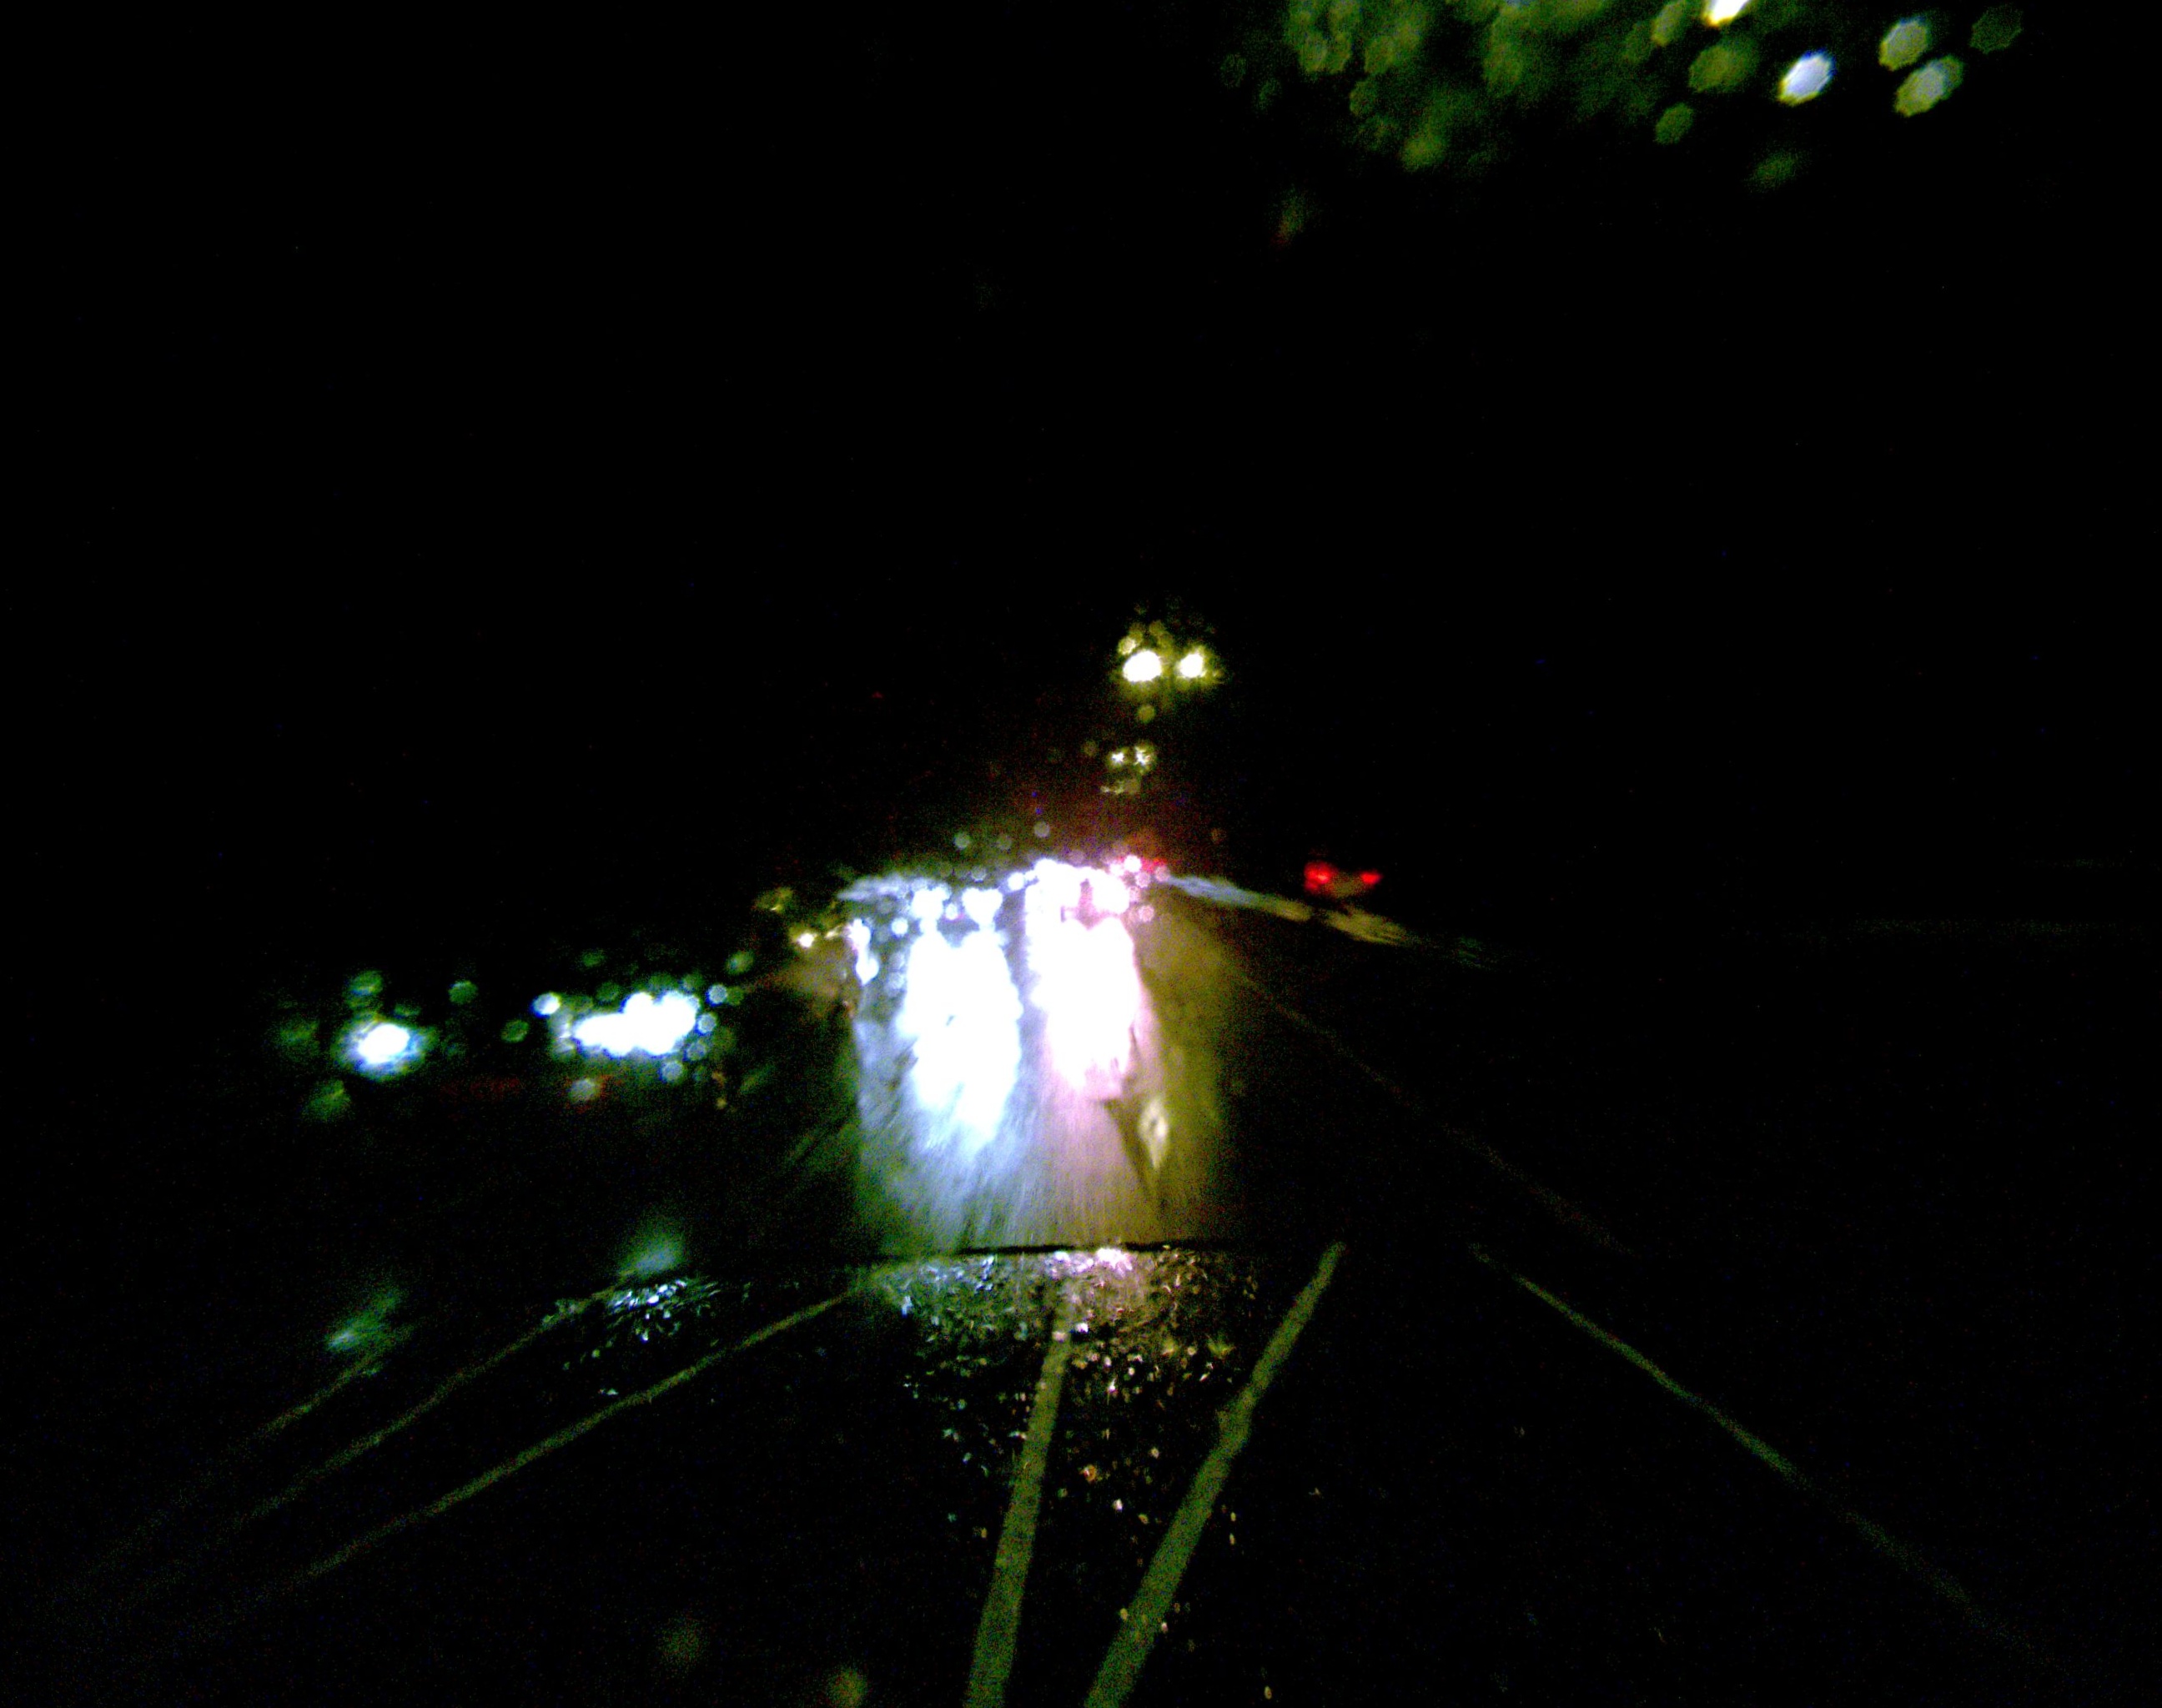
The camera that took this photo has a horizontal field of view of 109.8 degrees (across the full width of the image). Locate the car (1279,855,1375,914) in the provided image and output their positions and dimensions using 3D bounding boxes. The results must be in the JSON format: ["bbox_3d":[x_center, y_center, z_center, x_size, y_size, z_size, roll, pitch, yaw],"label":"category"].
[{"bbox_3d":[7.378,0.863,23.200,1.624,1.641,4.000,0,0,0],"label":"car"}]

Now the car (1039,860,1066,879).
[{"bbox_3d":[-2.306,1.249,62.892,1.998,1.531,4.000,-1,0,1],"label":"car"}]

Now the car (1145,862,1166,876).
[{"bbox_3d":[8.396,1.709,86.104,1.860,1.467,4.779,-1,0,0],"label":"car"}]

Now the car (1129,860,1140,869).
[{"bbox_3d":[8.888,1.685,126.057,1.614,1.373,4.746,-1,0,1],"label":"car"}]

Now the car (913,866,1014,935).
[{"bbox_3d":[-2.932,1.115,19.877,1.826,1.476,4.568,-1,0,1],"label":"car"}]

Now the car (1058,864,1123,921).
[{"bbox_3d":[0.305,1.110,23.272,1.764,1.492,4.000,-2,0,1],"label":"car"}]

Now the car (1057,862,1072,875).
[{"bbox_3d":[-2.190,1.889,102.274,1.998,1.657,4.000,-1,0,0],"label":"car"}]

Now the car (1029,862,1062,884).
[{"bbox_3d":[-2.480,1.318,53.788,1.998,1.455,4.000,-1,0,1],"label":"car"}]

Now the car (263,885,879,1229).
[{"bbox_3d":[-3.106,1.081,6.067,1.736,1.440,4.724,-2,0,-1],"label":"car"}]

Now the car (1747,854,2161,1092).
[{"bbox_3d":[7.746,0.798,5.744,1.572,1.533,4.160,2,0,-3],"label":"car"}]

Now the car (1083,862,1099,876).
[{"bbox_3d":[1.438,2.123,108.547,1.999,1.774,3.999,-2,0,-1],"label":"car"}]

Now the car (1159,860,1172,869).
[{"bbox_3d":[12.389,1.525,111.656,1.614,1.373,4.164,1,0,1],"label":"car"}]

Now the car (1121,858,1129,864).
[{"bbox_3d":[10.797,1.654,186.059,1.756,1.543,4.010,-1,0,0],"label":"car"}]
